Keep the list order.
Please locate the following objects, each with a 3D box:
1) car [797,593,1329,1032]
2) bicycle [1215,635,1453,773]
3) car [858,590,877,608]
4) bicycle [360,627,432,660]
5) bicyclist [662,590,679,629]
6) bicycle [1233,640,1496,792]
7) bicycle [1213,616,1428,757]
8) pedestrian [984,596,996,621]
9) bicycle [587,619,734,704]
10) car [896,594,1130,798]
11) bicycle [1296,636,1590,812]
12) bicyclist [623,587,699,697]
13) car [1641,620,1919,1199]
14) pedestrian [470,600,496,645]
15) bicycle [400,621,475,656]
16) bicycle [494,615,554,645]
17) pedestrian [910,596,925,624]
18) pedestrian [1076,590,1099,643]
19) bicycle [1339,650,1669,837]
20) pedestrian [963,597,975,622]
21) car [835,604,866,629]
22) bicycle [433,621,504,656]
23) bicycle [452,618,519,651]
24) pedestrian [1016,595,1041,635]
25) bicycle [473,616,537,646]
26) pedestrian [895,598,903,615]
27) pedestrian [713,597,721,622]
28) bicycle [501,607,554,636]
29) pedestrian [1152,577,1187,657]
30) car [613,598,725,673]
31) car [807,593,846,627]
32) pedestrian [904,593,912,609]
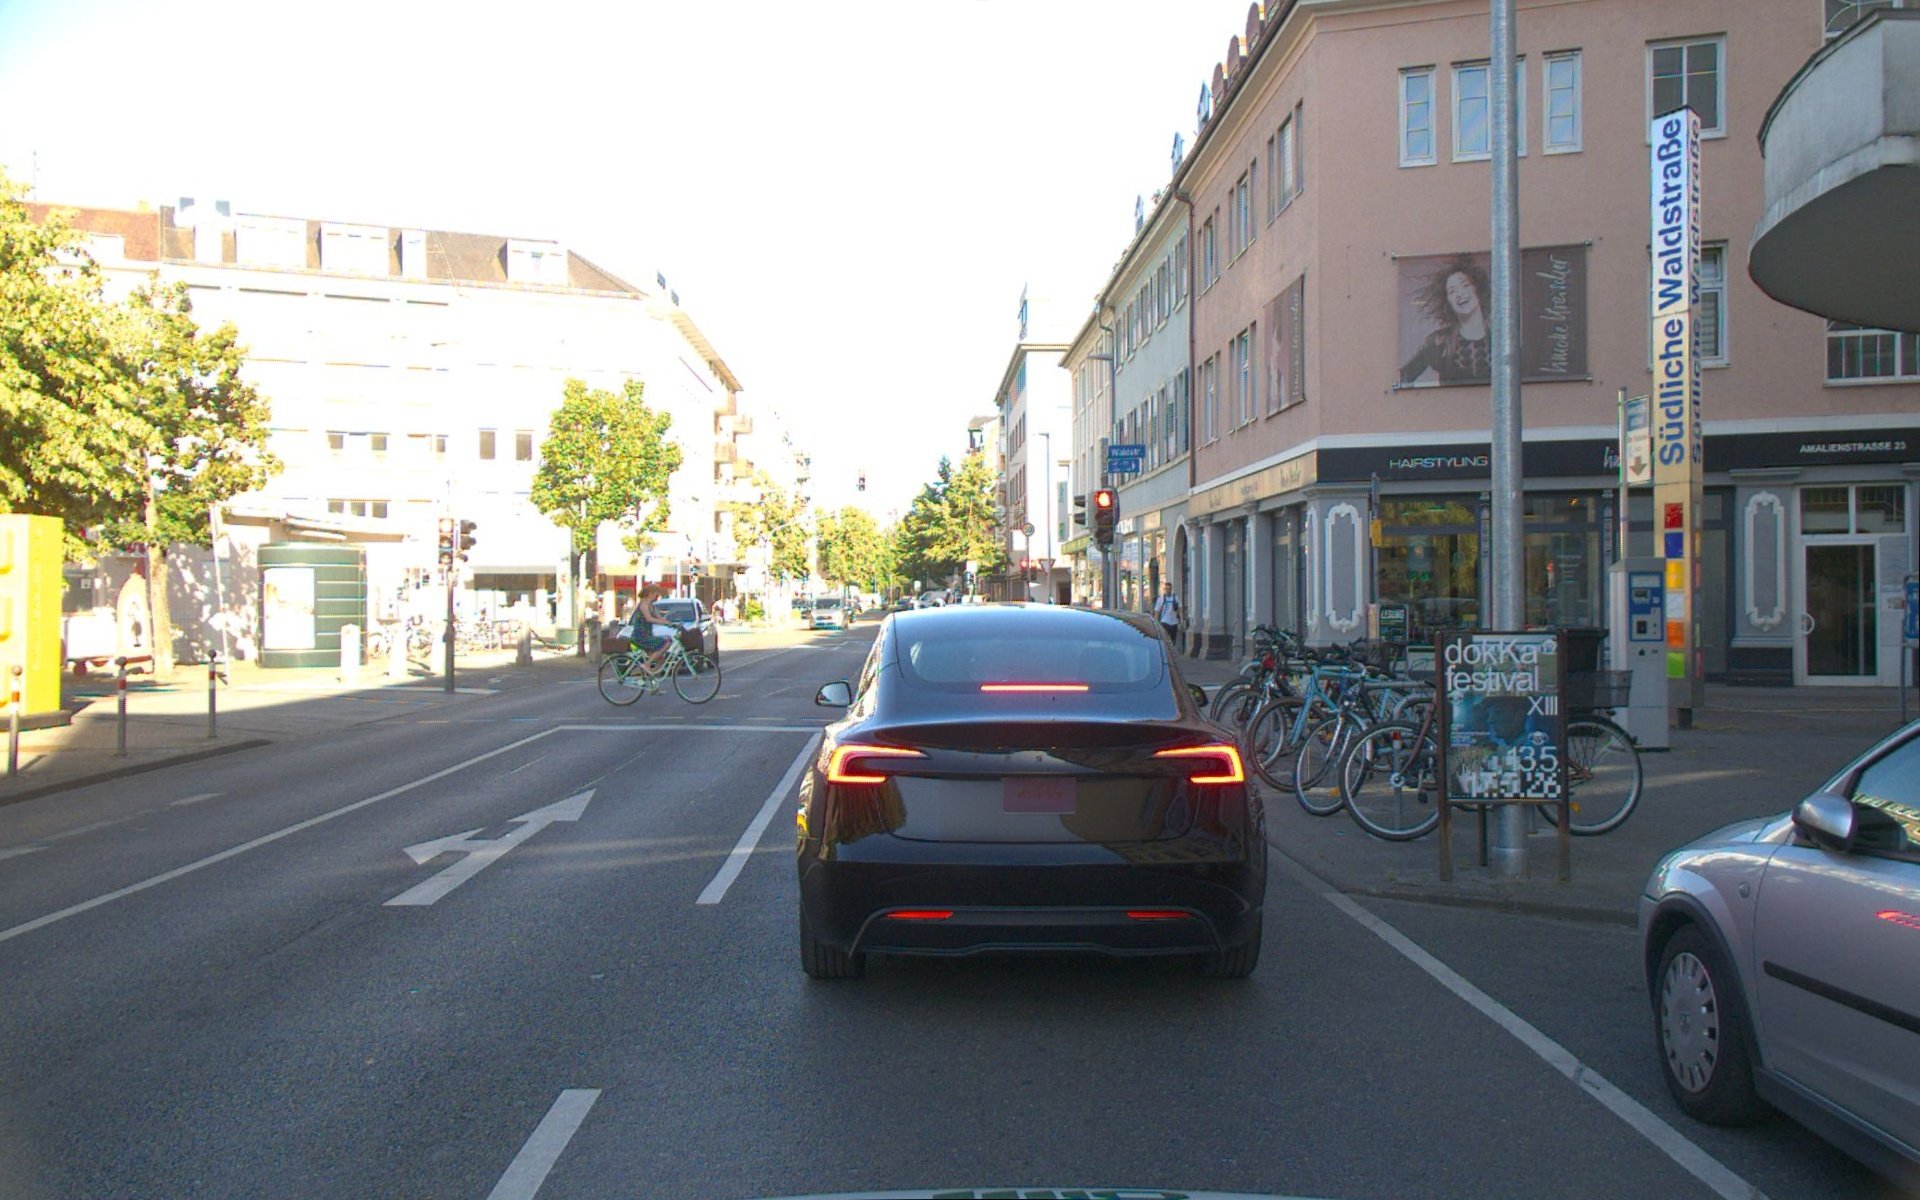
[{"bbox_3d":[0.323,0.722,7.555,1.785,1.467,3.999,0,0,-1],"label":"car"},{"bbox_3d":[3.063,0.848,13.659,1.833,1.056,0.548,-2,-1,5],"label":"bicycle"},{"bbox_3d":[-10.420,-0.086,186.974,1.953,2.049,3.999,0,0,-1],"label":"car"},{"bbox_3d":[-14.449,1.112,42.389,1.612,0.806,0.606,1,0,-5],"label":"bicycle"},{"bbox_3d":[-11.537,0.381,65.932,0.516,1.530,0.472,1,-1,-25],"label":"bicyclist"},{"bbox_3d":[3.026,0.863,12.476,1.834,1.056,0.533,-2,-1,3],"label":"bicycle"},{"bbox_3d":[3.203,0.766,14.782,1.789,1.189,0.506,-2,-1,5],"label":"bicycle"},{"bbox_3d":[1.752,0.504,95.791,0.516,1.447,0.474,1,-1,-31],"label":"pedestrian"},{"bbox_3d":[-4.227,0.862,23.414,1.893,1.137,0.709,-1,0,5],"label":"bicycle"},{"bbox_3d":[0.315,0.686,13.786,1.683,1.450,3.755,0,0,-2],"label":"car"},{"bbox_3d":[3.244,0.827,11.189,1.834,1.106,0.414,-2,-1,3],"label":"bicycle"},{"bbox_3d":[-4.222,0.583,23.412,0.872,1.508,0.702,-1,0,5],"label":"bicyclist"},{"bbox_3d":[2.912,0.767,3.501,1.515,1.415,3.476,0,0,0],"label":"car"},{"bbox_3d":[-22.013,1.036,76.267,1.041,2.049,1.049,1,-1,-20],"label":"pedestrian"},{"bbox_3d":[-14.206,1.044,44.974,1.826,0.950,0.606,0,0,-2],"label":"bicycle"},{"bbox_3d":[-14.369,0.989,54.558,1.826,0.950,0.606,0,0,-2],"label":"bicycle"},{"bbox_3d":[-2.702,0.639,105.206,0.708,1.725,0.843,0,0,-28],"label":"pedestrian"},{"bbox_3d":[4.244,0.543,55.061,0.692,1.773,0.540,0,0,-1],"label":"pedestrian"},{"bbox_3d":[3.267,0.864,10.011,1.833,1.056,0.353,-2,-1,6],"label":"bicycle"},{"bbox_3d":[0.526,0.531,95.884,0.467,1.442,0.516,1,-1,-32],"label":"pedestrian"},{"bbox_3d":[-6.872,1.028,104.069,1.680,1.471,3.844,1,0,-1],"label":"car"},{"bbox_3d":[-13.973,1.088,47.057,1.826,0.950,0.606,1,0,-2],"label":"bicycle"},{"bbox_3d":[-14.210,1.034,49.527,1.826,0.950,0.606,1,0,-2],"label":"bicycle"},{"bbox_3d":[2.867,0.628,69.351,0.742,1.660,0.951,1,-1,-18],"label":"pedestrian"},{"bbox_3d":[-14.333,0.980,52.111,1.826,0.950,0.606,0,0,-2],"label":"bicycle"},{"bbox_3d":[-7.564,0.794,205.286,0.912,2.049,0.938,1,-1,-1],"label":"pedestrian"},{"bbox_3d":[-14.271,0.558,97.173,0.451,1.486,0.517,0,0,-6],"label":"pedestrian"},{"bbox_3d":[-20.276,1.024,77.538,2.334,1.318,0.509,1,-1,-27],"label":"bicycle"},{"bbox_3d":[4.732,0.386,37.378,0.735,1.796,0.837,0,-1,3],"label":"pedestrian"},{"bbox_3d":[-6.287,0.741,36.094,1.752,1.485,3.756,-2,0,-1],"label":"car"},{"bbox_3d":[-6.842,0.502,85.153,1.751,1.675,4.401,0,0,-1],"label":"car"},{"bbox_3d":[-6.479,0.110,205.410,0.912,2.049,0.938,1,-1,-1],"label":"pedestrian"}]
